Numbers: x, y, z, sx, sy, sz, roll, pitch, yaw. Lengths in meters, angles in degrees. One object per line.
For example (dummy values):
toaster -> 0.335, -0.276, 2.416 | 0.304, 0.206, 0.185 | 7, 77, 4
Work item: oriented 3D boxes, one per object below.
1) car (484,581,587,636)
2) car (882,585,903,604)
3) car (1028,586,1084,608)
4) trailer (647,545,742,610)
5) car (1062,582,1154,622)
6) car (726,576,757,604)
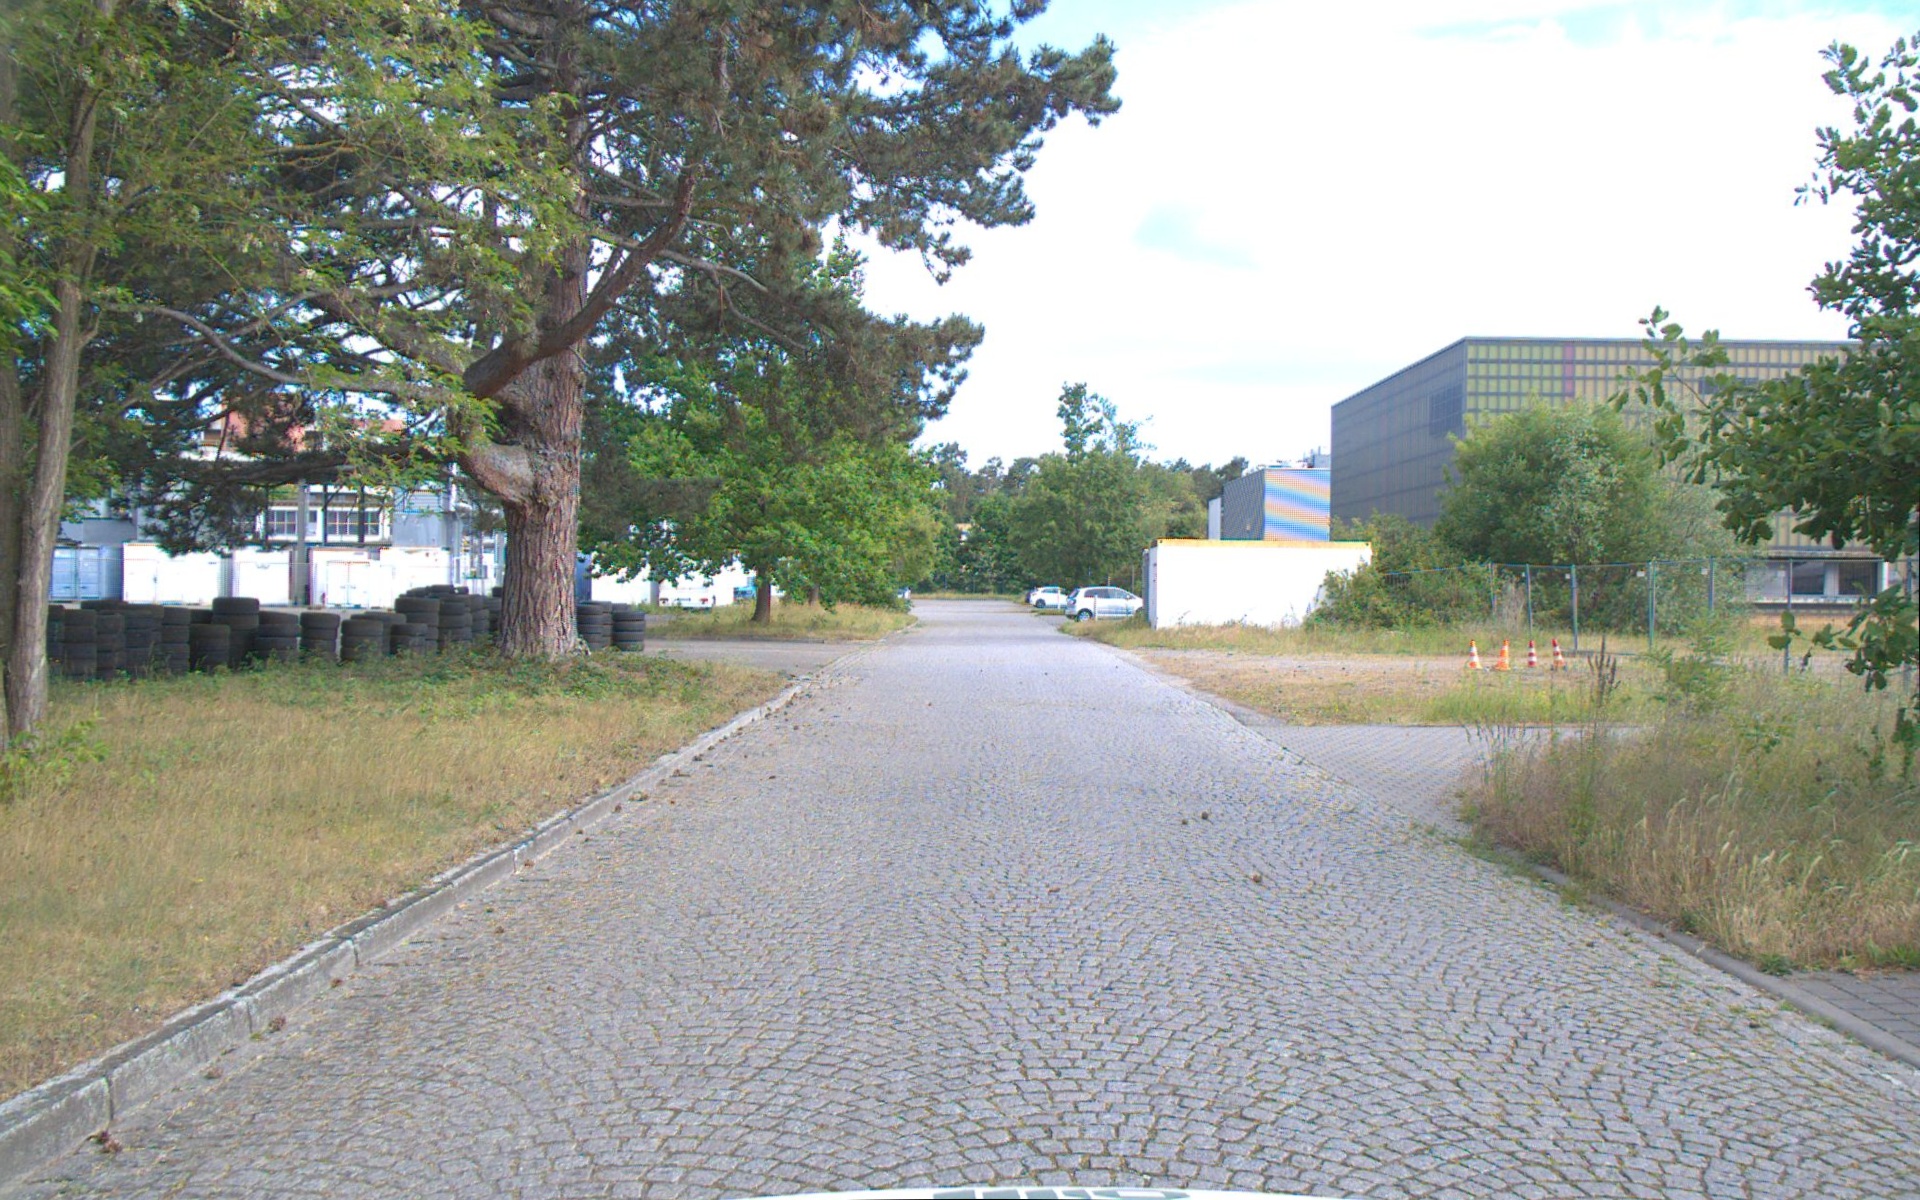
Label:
car -> -12.006, 0.211, 46.989 | 1.729, 1.478, 3.491 | 1, 0, 6
car -> -5.572, -0.476, 136.970 | 1.700, 1.495, 4.044 | 1, 0, -2
car -> 6.826, -0.227, 117.894 | 3.942, 1.528, 1.548 | 1, 0, 1
trailer -> -13.455, -1.116, 84.441 | 3.093, 3.121, 8.787 | 1, 1, 2
car -> 6.399, 0.094, 71.742 | 3.772, 1.683, 1.685 | 1, 0, -3
car -> -16.498, -0.753, 125.034 | 1.886, 2.083, 4.598 | 1, 0, -2
